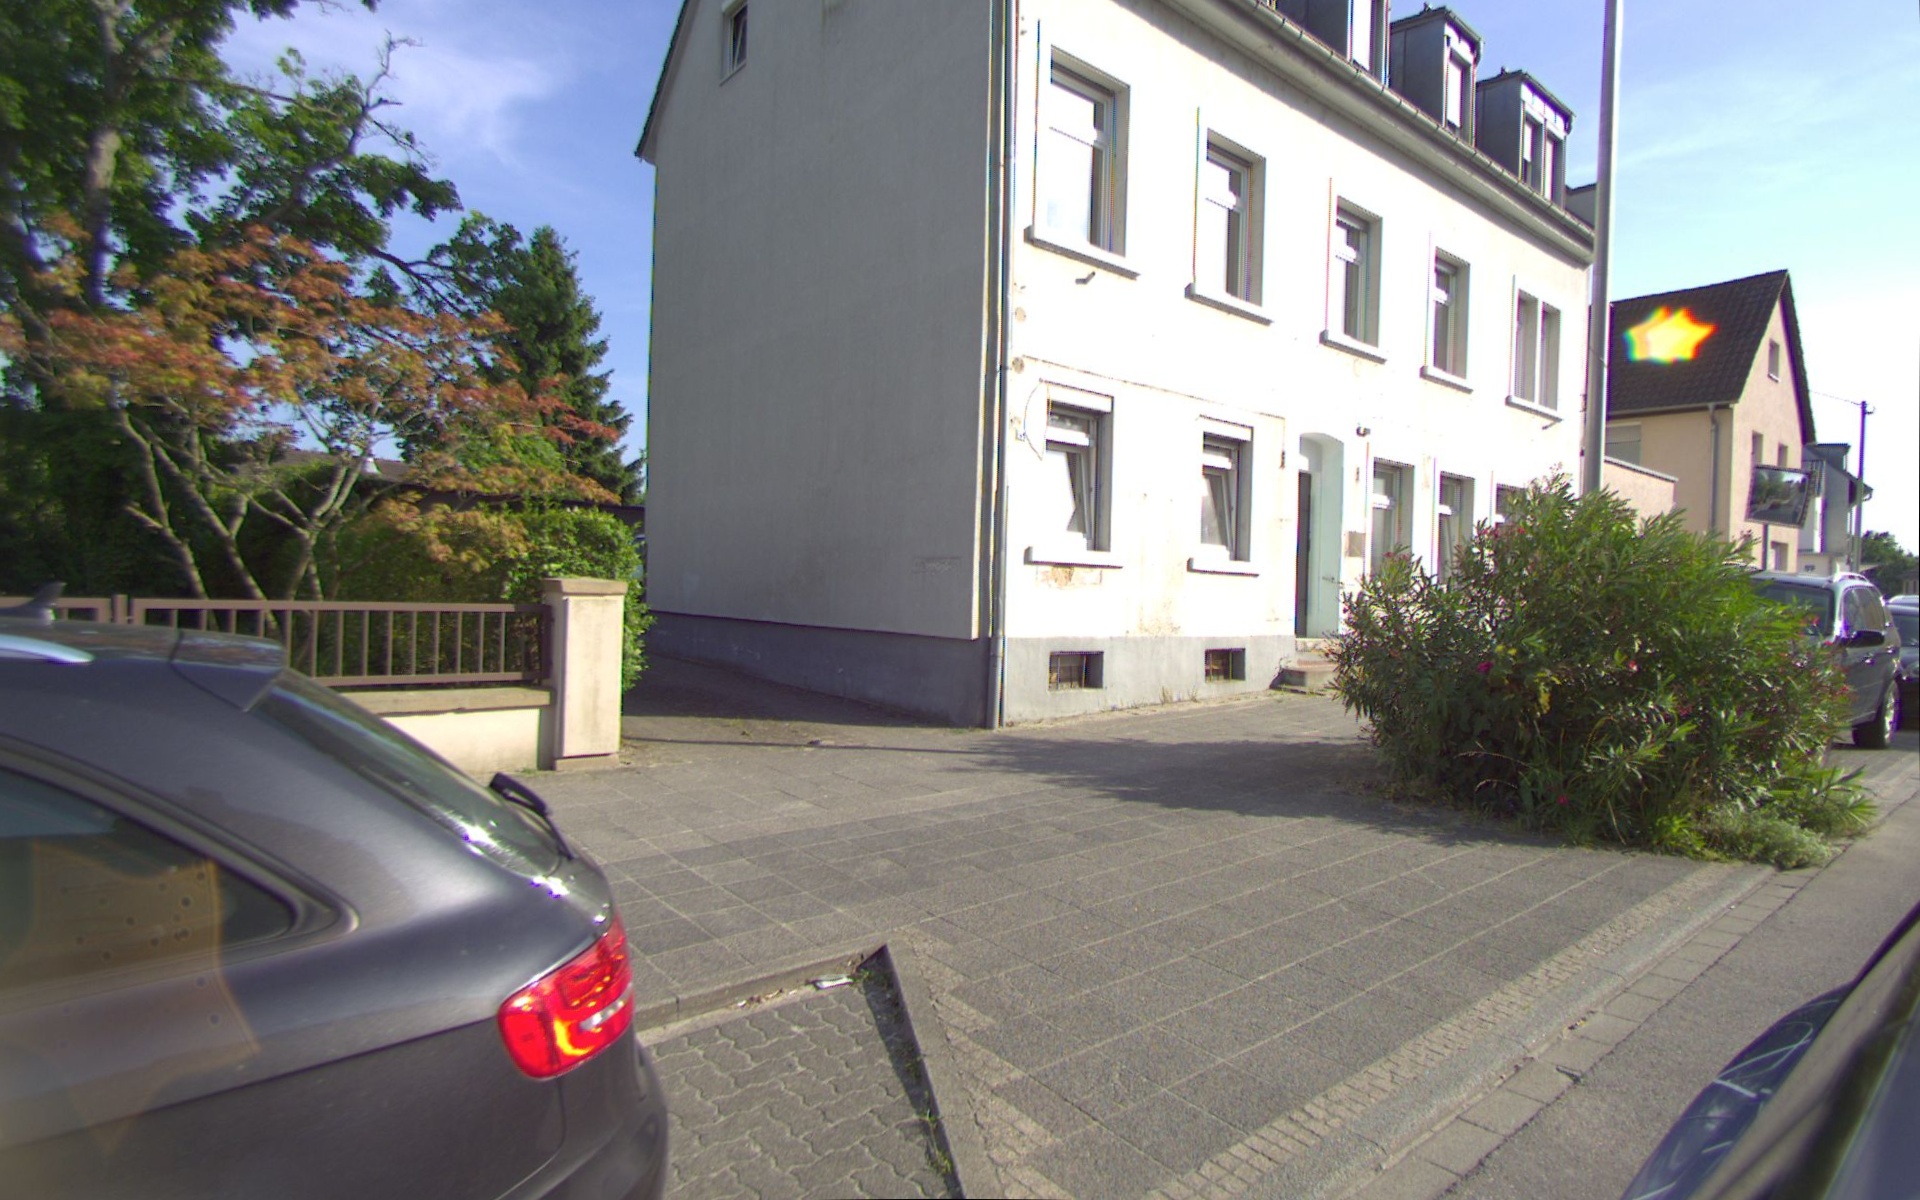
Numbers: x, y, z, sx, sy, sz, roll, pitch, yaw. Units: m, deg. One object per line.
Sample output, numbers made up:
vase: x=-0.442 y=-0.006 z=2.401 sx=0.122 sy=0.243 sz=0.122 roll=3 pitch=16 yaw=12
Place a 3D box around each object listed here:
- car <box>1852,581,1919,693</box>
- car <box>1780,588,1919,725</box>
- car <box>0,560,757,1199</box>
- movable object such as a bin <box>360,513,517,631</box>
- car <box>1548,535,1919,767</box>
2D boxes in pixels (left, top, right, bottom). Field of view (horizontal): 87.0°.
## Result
car: x=16.622 y=0.614 z=17.000 sx=4.397 sy=1.704 sz=1.816 roll=1 pitch=2 yaw=-41
car: x=12.662 y=0.669 z=13.697 sx=4.532 sy=1.547 sz=1.592 roll=0 pitch=3 yaw=-41
car: x=-2.541 y=0.645 z=0.655 sx=4.417 sy=1.438 sz=1.783 roll=1 pitch=1 yaw=-41
movable object such as a bin: x=-9.072 y=-0.492 z=17.533 sx=1.940 sy=1.861 sz=2.568 roll=1 pitch=2 yaw=-38
car: x=8.221 y=0.413 z=10.468 sx=4.525 sy=1.879 sz=2.082 roll=2 pitch=2 yaw=-38
